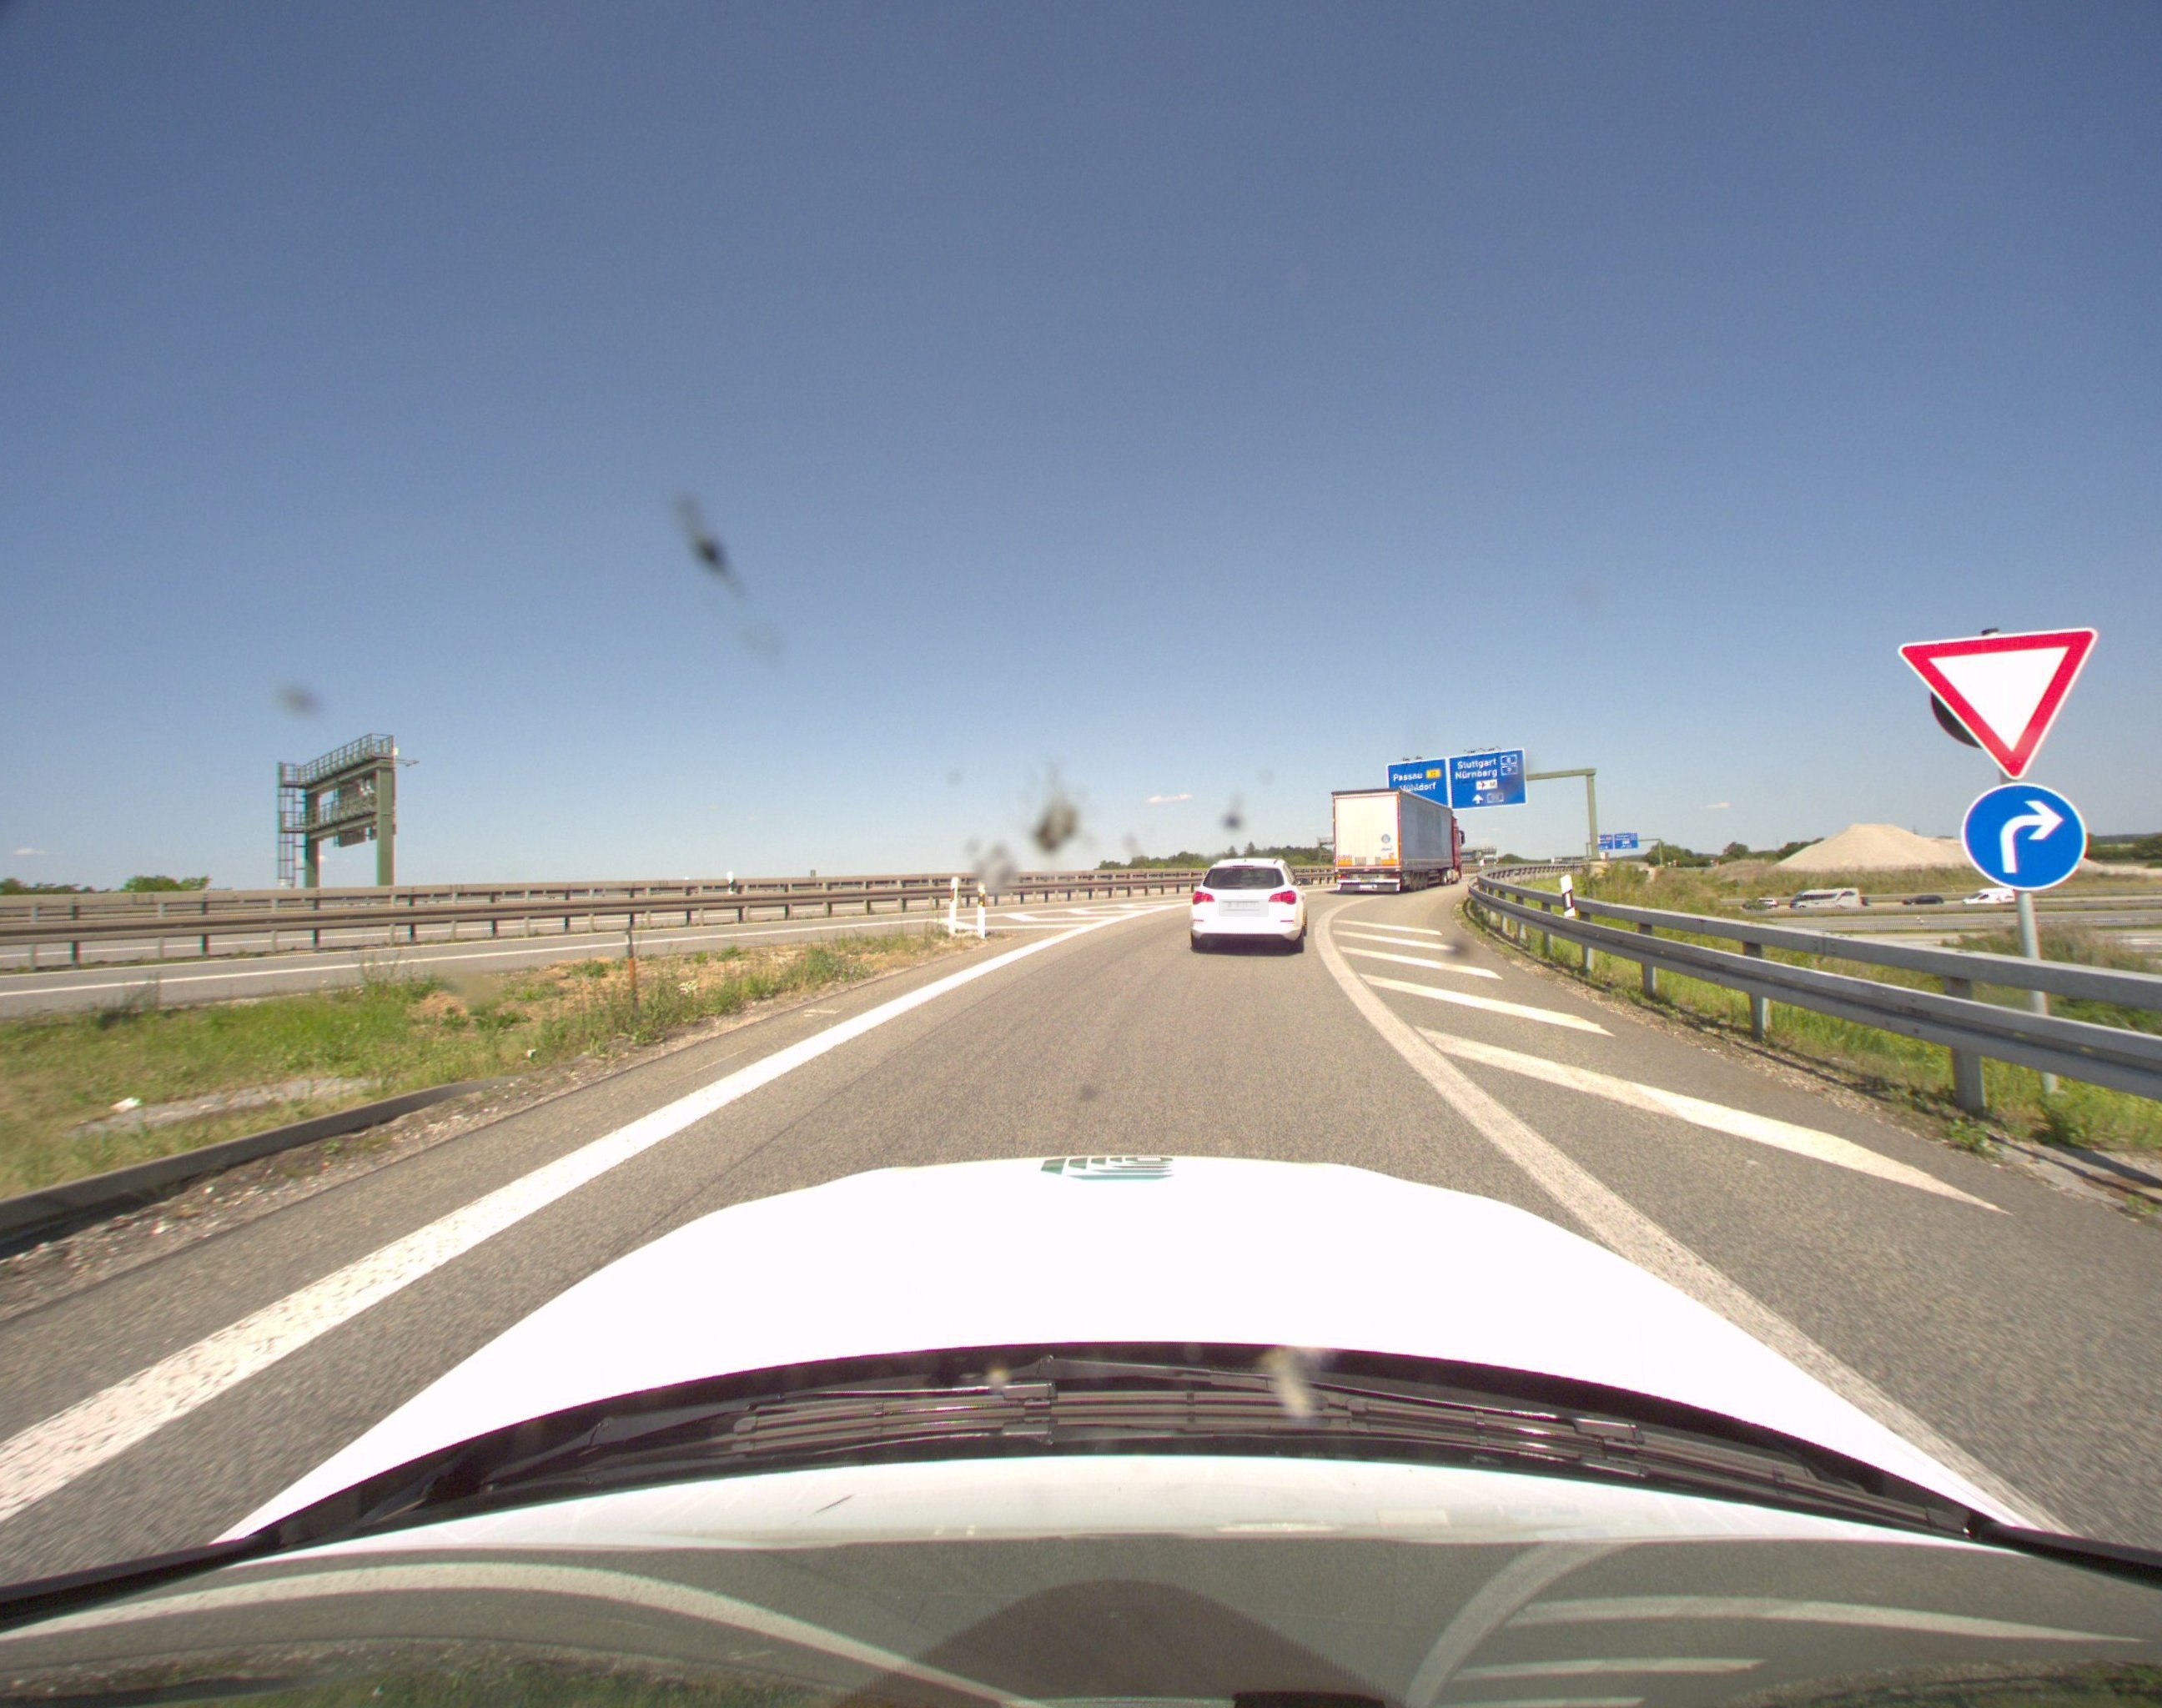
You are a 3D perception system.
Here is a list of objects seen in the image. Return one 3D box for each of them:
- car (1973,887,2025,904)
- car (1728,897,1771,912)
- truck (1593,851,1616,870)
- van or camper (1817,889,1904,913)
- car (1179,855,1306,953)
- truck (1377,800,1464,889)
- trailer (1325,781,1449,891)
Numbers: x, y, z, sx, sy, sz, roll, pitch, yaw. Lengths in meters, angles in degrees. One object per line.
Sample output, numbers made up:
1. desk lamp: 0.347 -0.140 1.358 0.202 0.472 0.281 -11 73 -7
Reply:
1. car: 117.999 5.296 104.724 3.949 2.014 1.815 -1 -1 29
2. car: 90.104 6.802 109.812 3.952 2.015 1.887 -1 -6 23
3. truck: 116.545 1.461 181.256 3.505 4.145 11.328 0 -1 36
4. van or camper: 108.455 6.572 113.520 8.056 2.996 3.001 -4 -6 27
5. car: 2.973 0.753 14.245 1.840 1.443 4.390 -1 -1 16
6. truck: 17.623 -0.321 41.968 2.884 4.146 6.968 -2 -3 33
7. trailer: 13.844 -0.485 36.019 2.884 4.146 11.327 -2 -3 32
